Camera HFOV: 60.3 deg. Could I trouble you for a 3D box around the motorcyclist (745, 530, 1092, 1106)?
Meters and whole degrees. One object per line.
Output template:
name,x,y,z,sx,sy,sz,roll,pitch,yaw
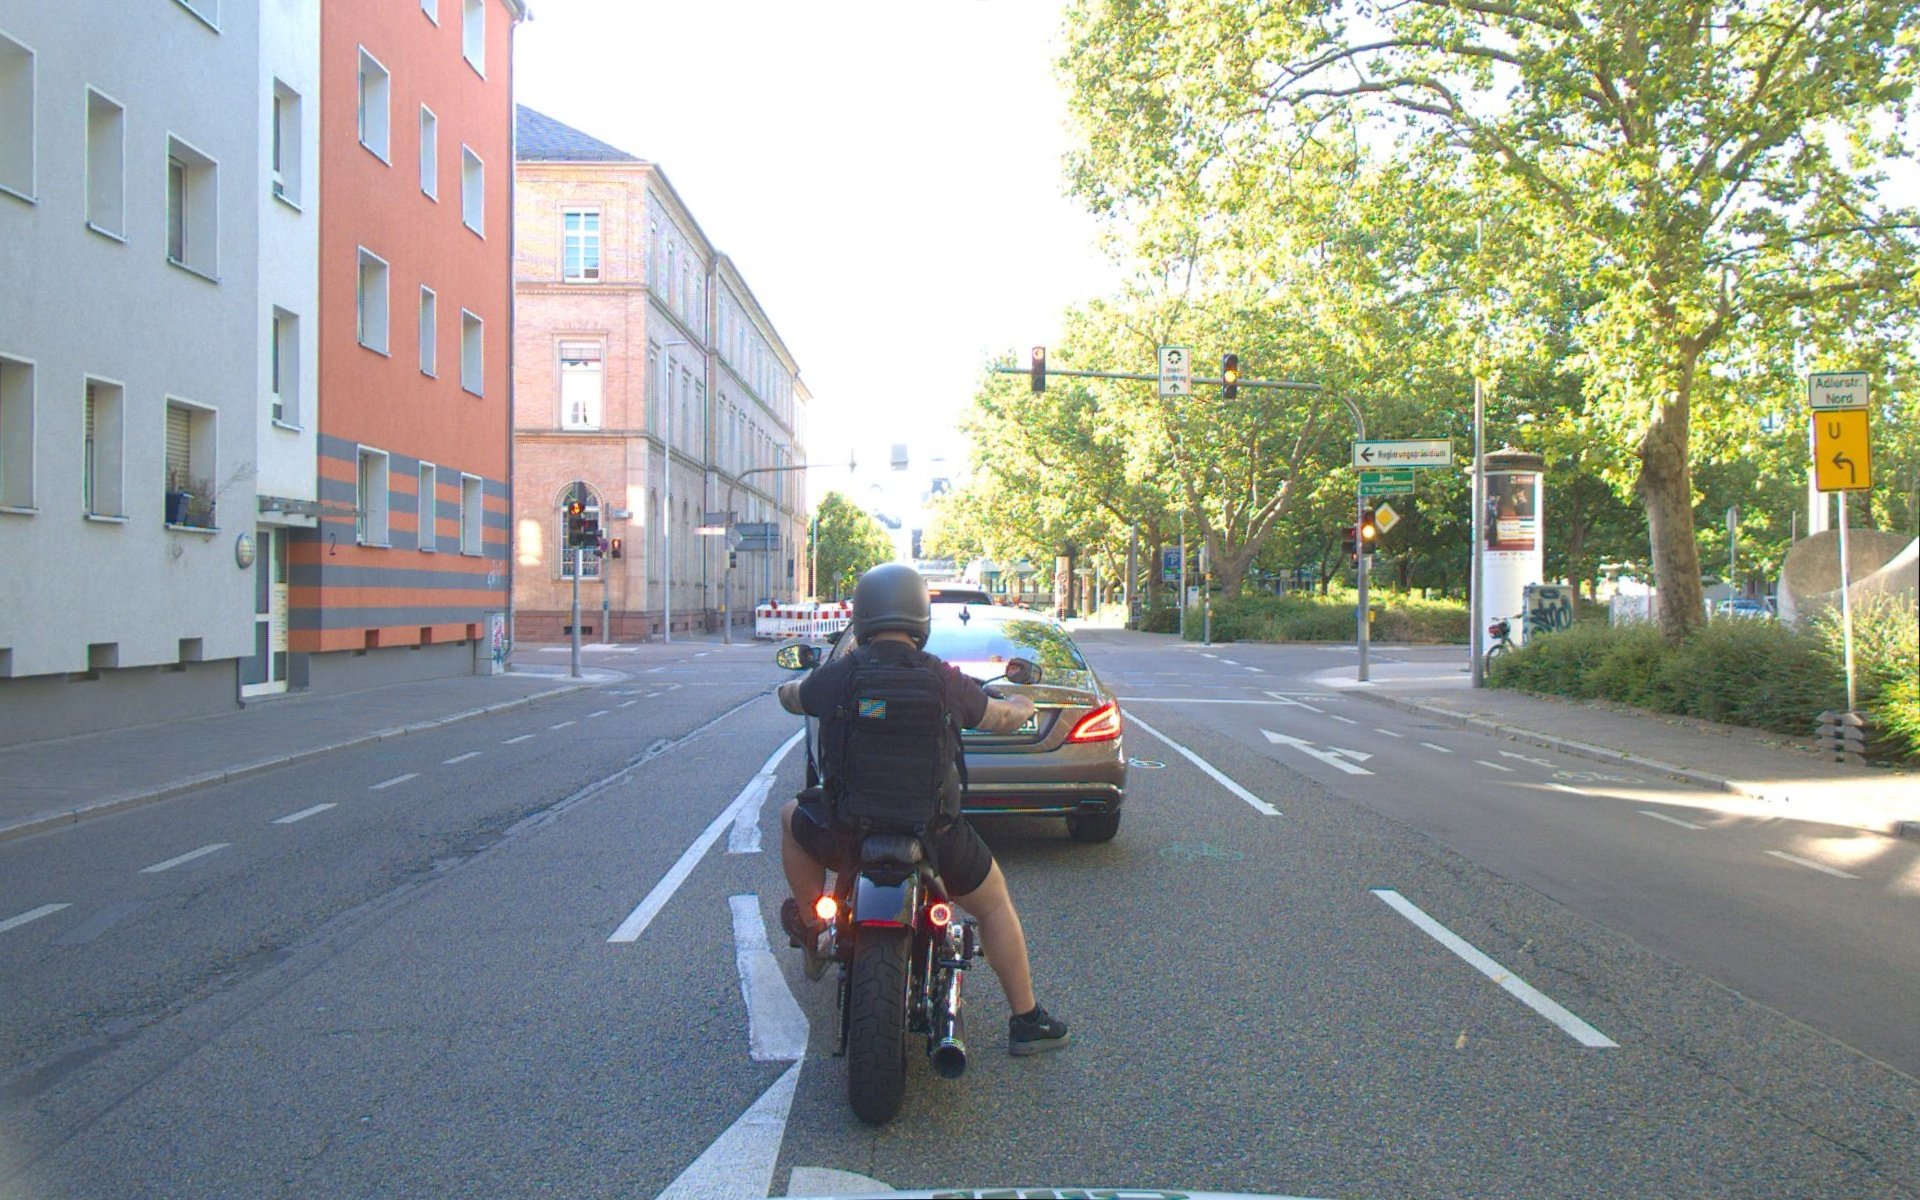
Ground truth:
motorcyclist,-0.126,0.629,5.311,0.970,1.639,1.120,1,0,-1

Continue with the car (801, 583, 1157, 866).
car,-0.088,0.684,11.111,1.790,1.512,4.326,1,0,-7

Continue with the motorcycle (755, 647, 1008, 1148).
motorcycle,-0.222,0.816,5.401,0.646,1.261,2.057,1,0,-1

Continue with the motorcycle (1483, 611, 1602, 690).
motorcycle,9.775,0.840,27.808,1.743,1.265,0.723,1,0,4

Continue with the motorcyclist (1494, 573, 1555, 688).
motorcyclist,9.483,0.508,27.819,0.805,1.896,0.672,1,-1,4

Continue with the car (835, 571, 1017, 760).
car,-0.333,0.600,16.954,1.618,1.681,3.999,1,0,-1

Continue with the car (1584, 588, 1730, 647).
car,21.992,0.546,52.277,3.907,1.803,1.737,0,0,-3
